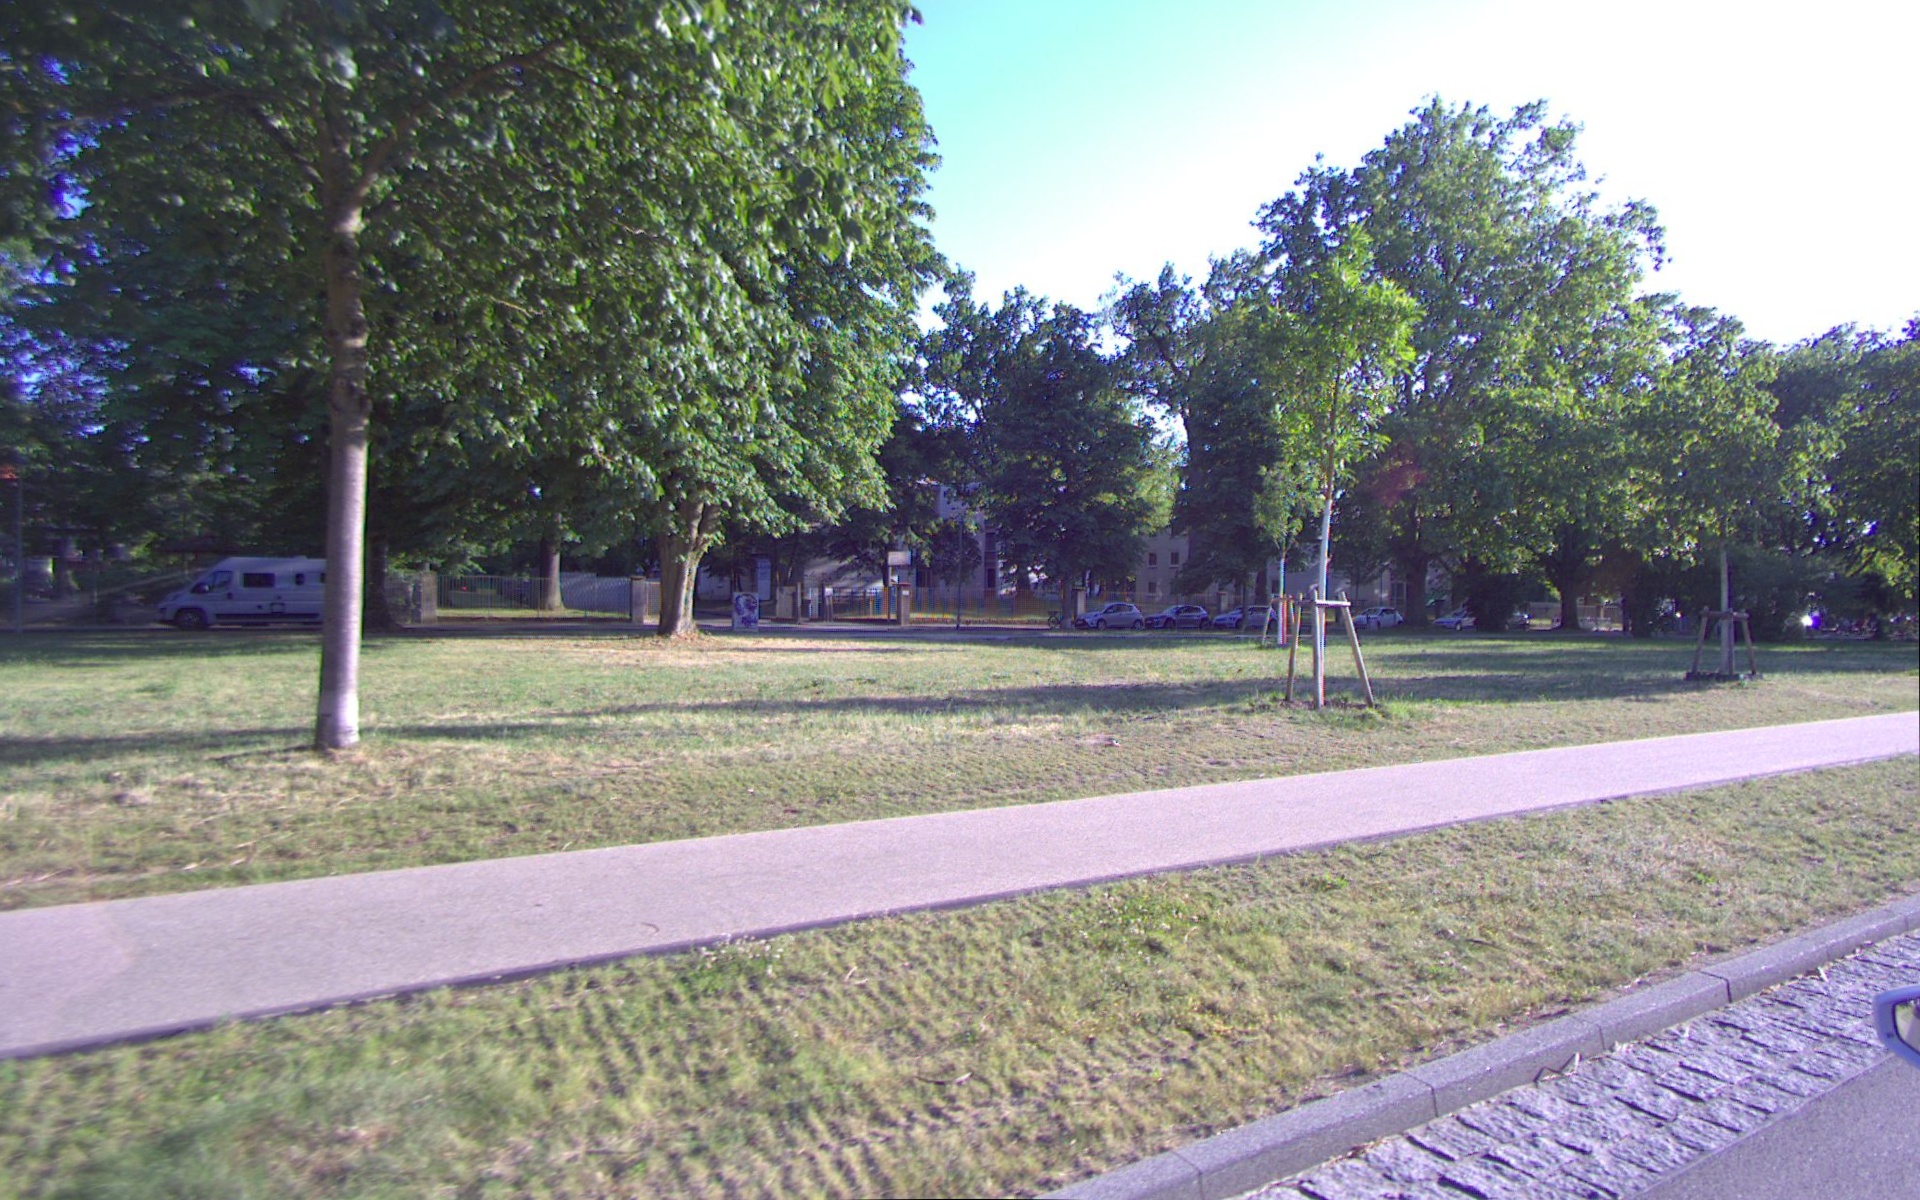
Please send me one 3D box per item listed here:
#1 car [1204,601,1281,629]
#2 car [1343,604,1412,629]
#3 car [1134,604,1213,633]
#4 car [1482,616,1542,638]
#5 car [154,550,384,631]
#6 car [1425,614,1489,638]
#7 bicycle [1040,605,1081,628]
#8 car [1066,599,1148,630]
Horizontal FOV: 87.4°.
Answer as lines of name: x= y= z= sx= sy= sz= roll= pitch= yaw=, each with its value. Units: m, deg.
car: x=16.362 y=0.844 z=58.141 sx=4.066 sy=1.528 sz=1.984 roll=2 pitch=-1 yaw=-30
car: x=26.750 y=1.058 z=64.326 sx=4.066 sy=1.528 sz=1.984 roll=2 pitch=-1 yaw=-30
car: x=11.810 y=1.012 z=55.492 sx=3.953 sy=1.528 sz=1.984 roll=2 pitch=-1 yaw=-30
car: x=39.725 y=1.929 z=72.334 sx=4.066 sy=1.528 sz=1.984 roll=2 pitch=-1 yaw=-30
car: x=-23.411 y=-0.239 z=34.437 sx=6.248 sy=2.496 sz=2.706 roll=2 pitch=-1 yaw=-32
car: x=34.122 y=1.791 z=68.955 sx=4.066 sy=1.528 sz=1.984 roll=2 pitch=-1 yaw=-30
bicycle: x=5.378 y=0.902 z=53.685 sx=2.309 sy=1.191 sz=0.653 roll=2 pitch=-1 yaw=-34
car: x=7.778 y=0.781 z=53.139 sx=3.953 sy=1.528 sz=1.984 roll=2 pitch=-1 yaw=-30
